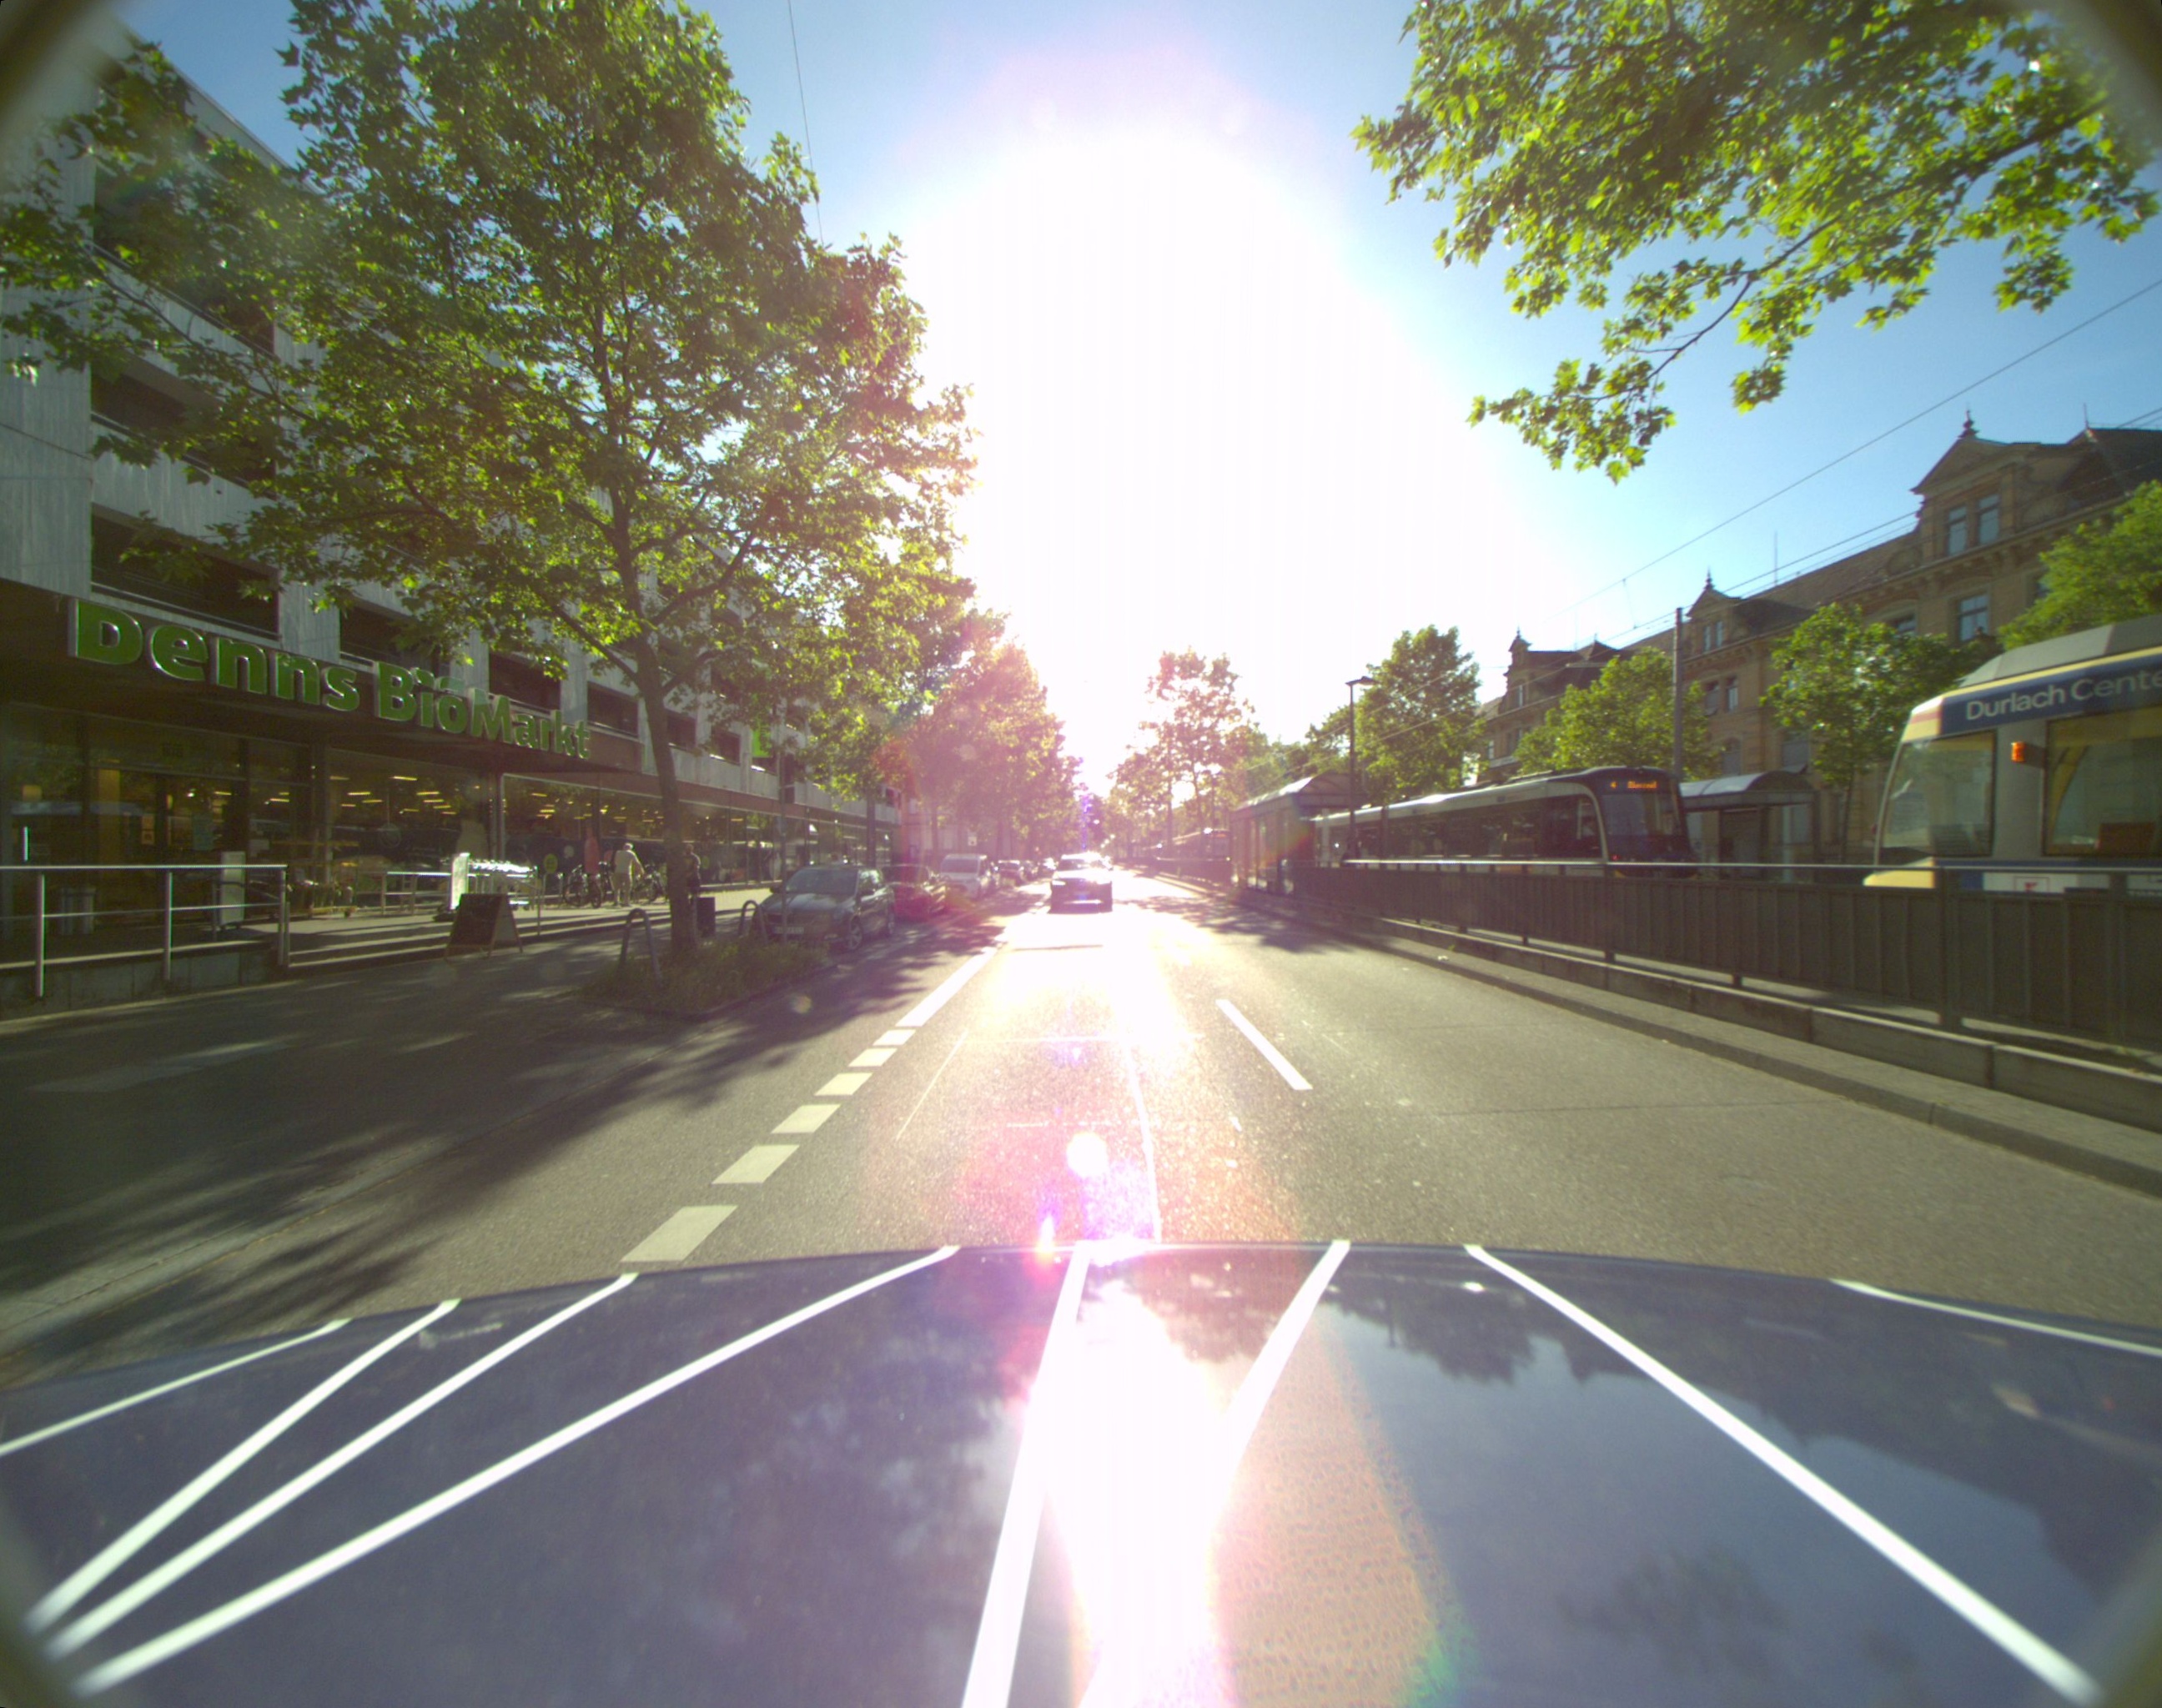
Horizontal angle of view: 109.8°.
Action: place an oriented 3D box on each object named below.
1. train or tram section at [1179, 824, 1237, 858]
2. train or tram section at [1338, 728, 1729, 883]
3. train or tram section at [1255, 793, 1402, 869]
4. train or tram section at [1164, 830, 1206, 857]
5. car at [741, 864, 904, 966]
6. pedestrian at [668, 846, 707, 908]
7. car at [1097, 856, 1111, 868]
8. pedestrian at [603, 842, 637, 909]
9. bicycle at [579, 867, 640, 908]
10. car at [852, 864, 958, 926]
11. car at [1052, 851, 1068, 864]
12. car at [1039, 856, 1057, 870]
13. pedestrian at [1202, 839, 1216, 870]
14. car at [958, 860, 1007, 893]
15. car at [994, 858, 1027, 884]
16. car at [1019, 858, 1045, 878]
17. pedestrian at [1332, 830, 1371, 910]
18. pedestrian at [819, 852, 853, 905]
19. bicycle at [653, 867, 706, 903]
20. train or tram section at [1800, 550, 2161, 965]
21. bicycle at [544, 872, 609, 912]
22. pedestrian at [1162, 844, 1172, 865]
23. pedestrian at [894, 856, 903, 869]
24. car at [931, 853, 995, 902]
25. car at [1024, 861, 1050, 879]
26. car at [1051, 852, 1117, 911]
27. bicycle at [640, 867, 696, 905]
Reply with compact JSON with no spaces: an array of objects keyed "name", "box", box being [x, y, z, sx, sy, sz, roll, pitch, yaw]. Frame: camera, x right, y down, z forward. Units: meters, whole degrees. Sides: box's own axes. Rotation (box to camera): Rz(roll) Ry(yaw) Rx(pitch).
[{"name":"train or tram section","box":[10.565,-0.966,64.972,2.569,2.549,15.675,-1,0,1]},{"name":"train or tram section","box":[13.281,-1.082,26.235,2.856,3.414,18.215,-2,0,1]},{"name":"train or tram section","box":[13.592,-1.066,44.515,2.878,3.414,18.276,-2,0,1]},{"name":"train or tram section","box":[10.786,-0.987,80.341,2.569,2.516,15.073,-1,0,1]},{"name":"car","box":[-4.591,0.999,14.136,1.568,1.541,4.000,-1,0,1]},{"name":"pedestrian","box":[-10.785,0.619,20.837,0.559,1.668,0.882,2,1,0]},{"name":"car","box":[2.865,0.947,94.241,1.706,1.407,3.876,-2,0,3]},{"name":"pedestrian","box":[-12.216,0.573,20.139,0.614,1.705,0.611,5,0,-28]},{"name":"bicycle","box":[-12.971,0.918,20.894,1.700,1.049,0.587,1,-2,28]},{"name":"car","box":[-4.637,1.030,20.691,1.766,1.409,4.700,-1,0,0]},{"name":"car","box":[-2.720,0.436,97.228,1.839,1.666,4.273,-1,0,1]},{"name":"car","box":[-3.802,0.986,87.582,1.839,1.556,4.273,-1,0,1]},{"name":"pedestrian","box":[7.105,0.051,42.189,0.683,1.700,0.624,-1,1,0]},{"name":"car","box":[-4.656,1.038,36.501,1.733,1.395,4.295,1,0,0]},{"name":"car","box":[-4.232,1.010,46.031,1.677,1.430,3.689,2,1,0]},{"name":"car","box":[-3.633,1.023,56.548,1.630,1.433,3.930,1,0,1]},{"name":"pedestrian","box":[5.664,0.330,15.927,0.568,1.630,0.621,-1,1,2]},{"name":"pedestrian","box":[-7.655,0.758,23.778,0.699,1.603,0.868,2,1,3]},{"name":"bicycle","box":[-12.580,0.954,23.800,1.700,1.049,0.587,2,0,28]},{"name":"train or tram section","box":[9.866,-0.717,0.997,2.922,3.241,15.890,-2,1,1]},{"name":"bicycle","box":[-12.673,0.950,19.094,1.647,0.911,0.587,2,-2,28]},{"name":"pedestrian","box":[6.718,0.005,59.473,0.700,1.626,0.761,-1,1,0]},{"name":"pedestrian","box":[-15.242,0.683,63.464,0.560,1.103,0.684,0,0,1]},{"name":"car","box":[-4.592,0.869,30.191,1.768,1.781,4.393,0,0,1]},{"name":"car","box":[-3.541,1.262,62.098,1.781,1.373,4.276,-1,0,1]},{"name":"car","box":[0.105,0.812,24.740,1.914,1.695,4.273,-1,0,1]},{"name":"bicycle","box":[-12.368,0.948,22.755,1.700,1.049,0.587,2,-1,28]}]
